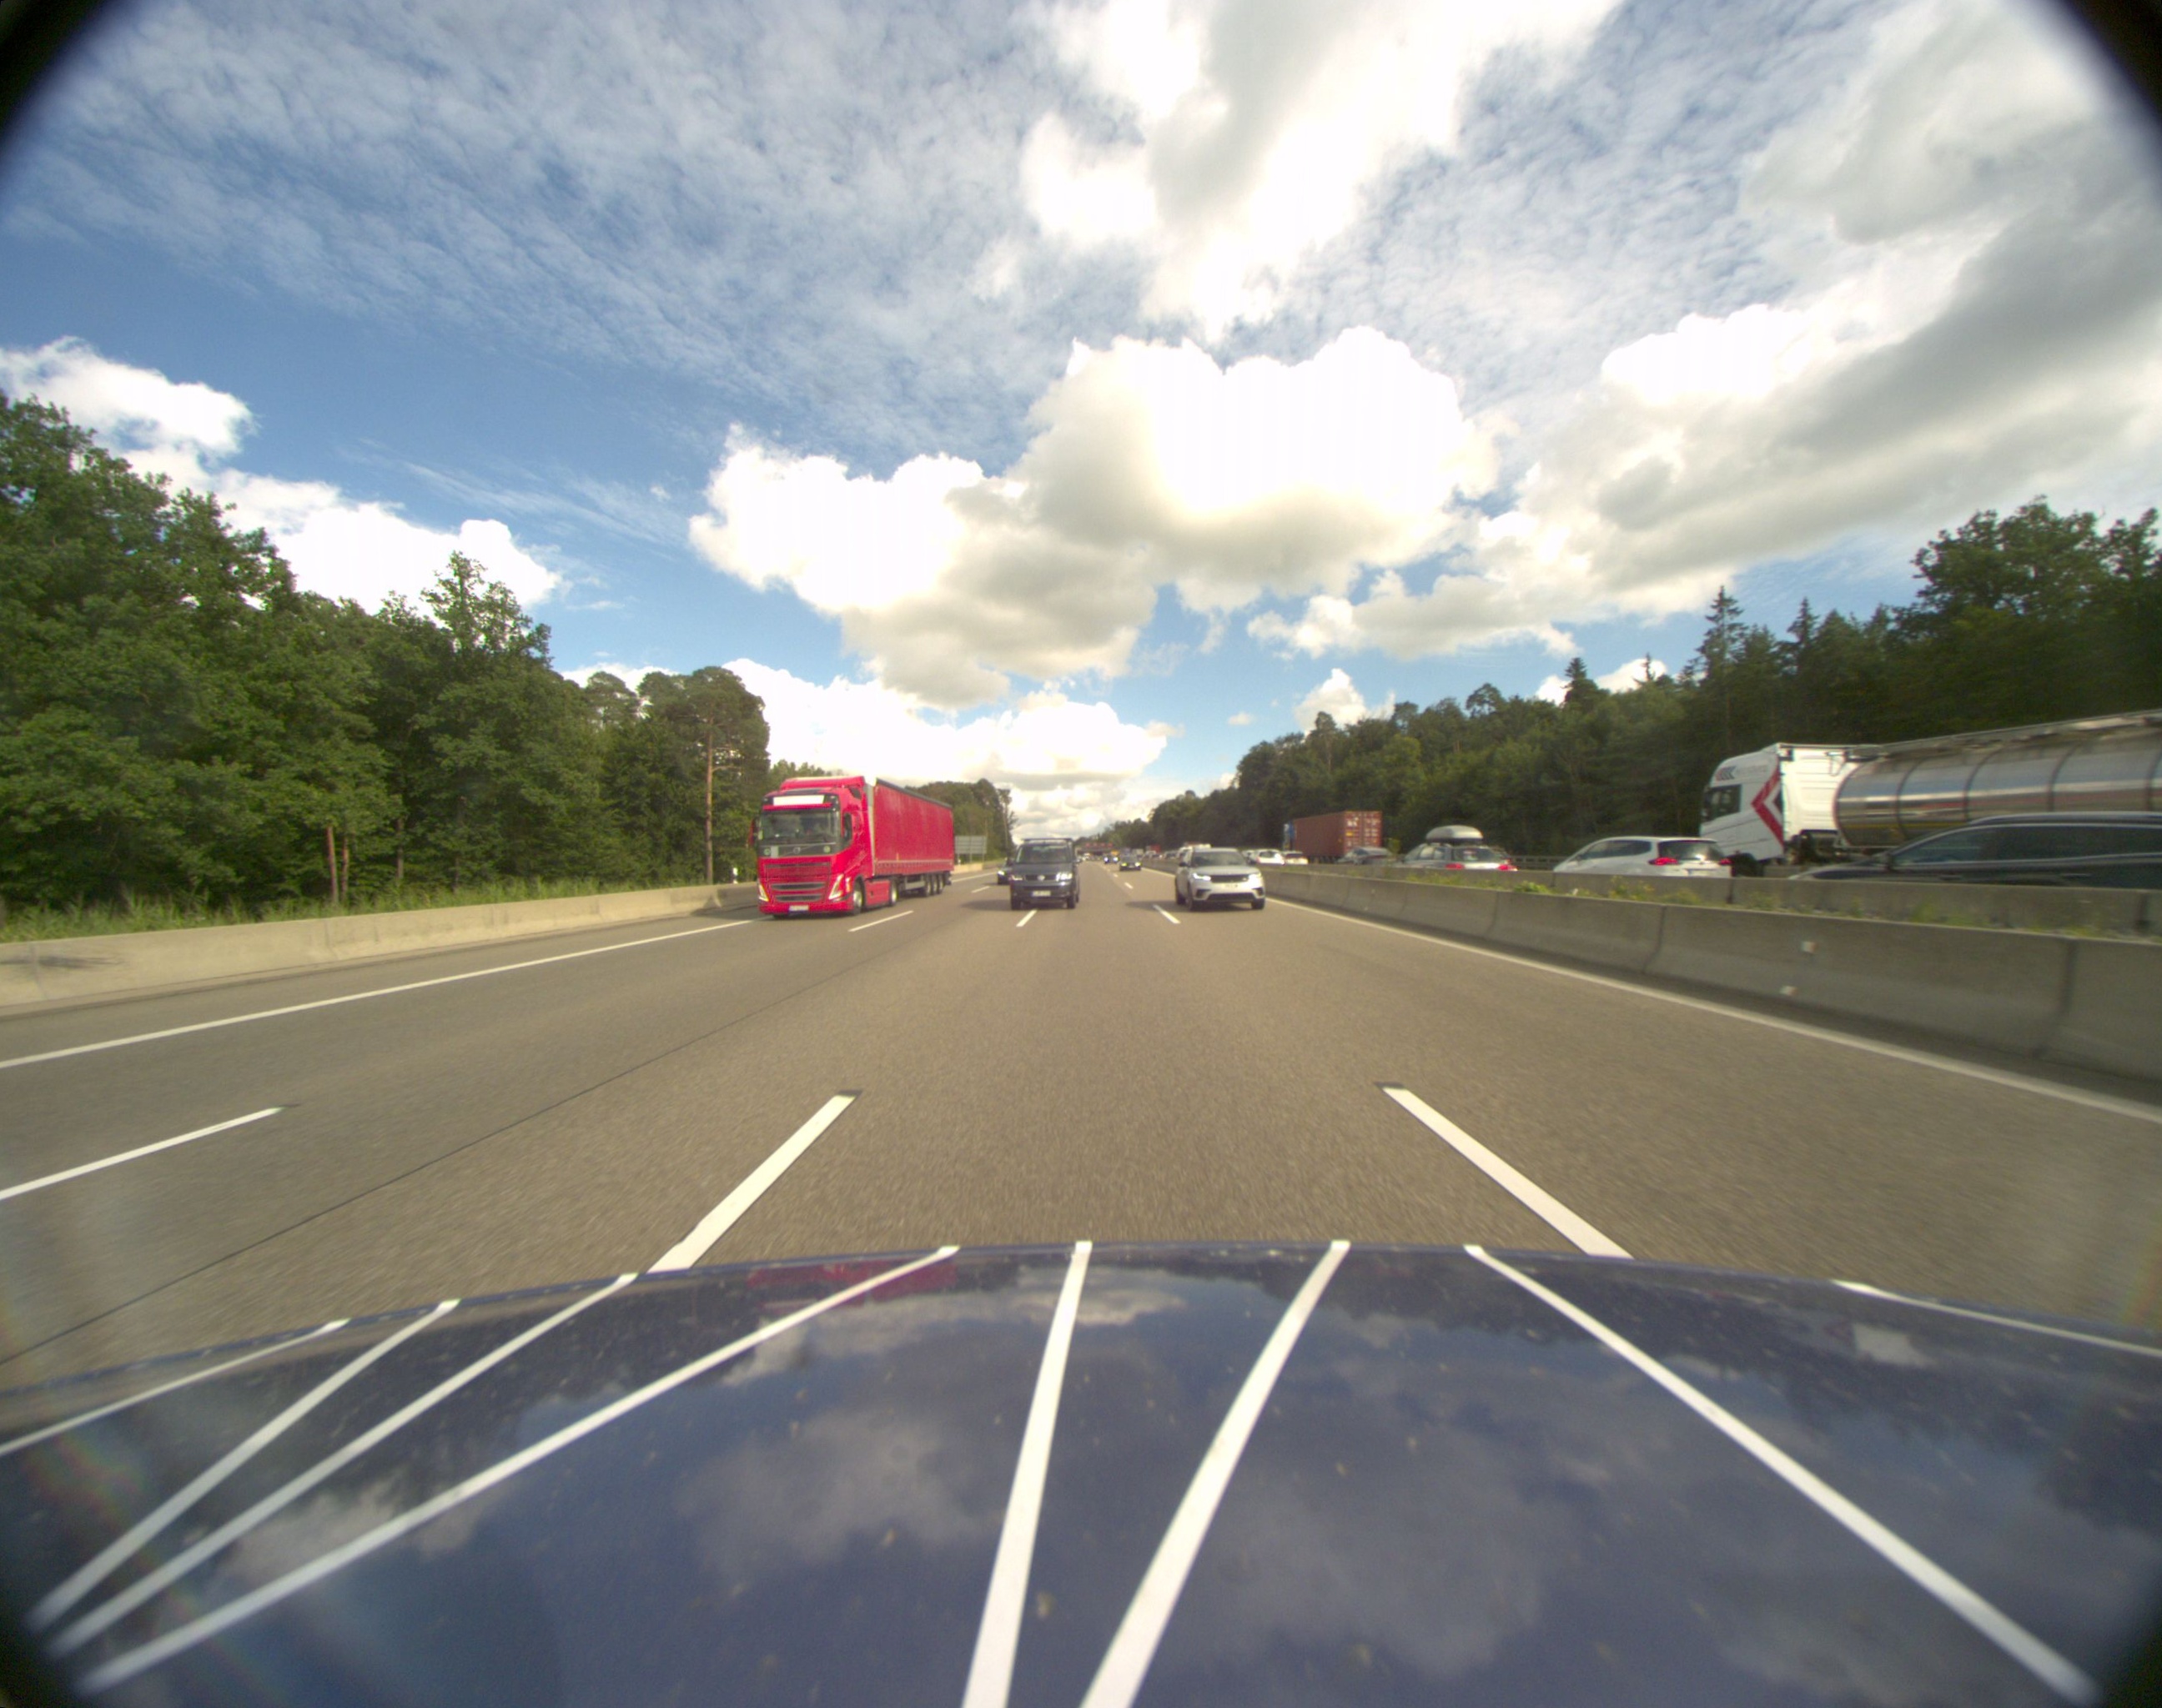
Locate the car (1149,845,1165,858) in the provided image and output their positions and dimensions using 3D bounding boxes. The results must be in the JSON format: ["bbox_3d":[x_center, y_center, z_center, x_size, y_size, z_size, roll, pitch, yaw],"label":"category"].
[{"bbox_3d":[11.471,-0.359,114.439,1.998,1.838,4.000,-2,0,1],"label":"car"}]

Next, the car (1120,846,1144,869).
[{"bbox_3d":[4.590,0.284,68.487,1.919,2.002,4.000,-1,0,1],"label":"car"}]

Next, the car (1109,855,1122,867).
[{"bbox_3d":[5.377,1.090,120.021,1.911,1.582,4.287,-2,1,1],"label":"car"}]

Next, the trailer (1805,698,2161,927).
[{"bbox_3d":[17.932,-0.676,11.208,2.957,3.478,12.230,-2,1,1],"label":"trailer"}]

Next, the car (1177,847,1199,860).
[{"bbox_3d":[11.197,-0.015,79.390,1.762,1.271,4.000,-2,0,1],"label":"car"}]

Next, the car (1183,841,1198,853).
[{"bbox_3d":[19.080,-1.171,132.778,1.998,2.002,4.000,-2,0,1],"label":"car"}]

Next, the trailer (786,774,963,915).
[{"bbox_3d":[-7.222,-0.315,29.664,2.531,4.095,14.377,-2,0,1],"label":"trailer"}]

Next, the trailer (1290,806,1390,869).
[{"bbox_3d":[18.519,-1.129,55.497,2.957,3.960,12.890,-2,1,1],"label":"trailer"}]

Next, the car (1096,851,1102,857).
[{"bbox_3d":[4.943,0.000,208.532,1.804,1.783,3.758,-1,0,1],"label":"car"}]

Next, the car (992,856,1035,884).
[{"bbox_3d":[-3.804,0.883,43.578,1.998,1.434,3.999,-2,1,1],"label":"car"}]

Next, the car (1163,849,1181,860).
[{"bbox_3d":[11.213,0.073,93.401,1.762,1.271,4.000,-2,0,1],"label":"car"}]

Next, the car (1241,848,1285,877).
[{"bbox_3d":[10.286,0.442,43.193,1.515,1.552,3.999,-2,0,-1],"label":"car"}]

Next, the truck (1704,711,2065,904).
[{"bbox_3d":[18.015,-0.926,17.602,2.964,3.725,5.109,-2,0,1],"label":"truck"}]

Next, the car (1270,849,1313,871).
[{"bbox_3d":[14.421,0.365,52.266,1.693,1.389,4.390,-2,0,0],"label":"car"}]

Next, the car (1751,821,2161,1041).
[{"bbox_3d":[10.172,0.627,8.109,1.821,1.871,4.903,-2,0,2],"label":"car"}]

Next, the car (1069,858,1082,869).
[{"bbox_3d":[-0.851,1.439,116.007,1.911,1.582,4.287,-2,1,-2],"label":"car"}]

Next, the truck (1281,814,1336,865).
[{"bbox_3d":[18.606,-1.178,62.447,2.963,3.963,5.152,-2,0,1],"label":"truck"}]

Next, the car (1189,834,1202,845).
[{"bbox_3d":[22.989,-2.925,152.681,1.998,2.002,4.000,-2,1,1],"label":"car"}]

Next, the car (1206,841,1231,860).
[{"bbox_3d":[15.142,-0.370,83.972,1.998,2.002,3.999,-2,1,1],"label":"car"}]

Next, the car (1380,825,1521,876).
[{"bbox_3d":[9.696,-0.087,20.353,1.599,1.167,4.356,-2,0,0],"label":"car"}]

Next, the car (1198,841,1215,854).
[{"bbox_3d":[19.601,-0.997,119.070,1.998,2.002,4.000,-2,0,1],"label":"car"}]

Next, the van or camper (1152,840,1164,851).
[{"bbox_3d":[23.091,-2.635,229.342,2.956,3.128,6.884,-2,0,1],"label":"van or camper"}]

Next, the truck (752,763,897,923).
[{"bbox_3d":[-7.357,-0.290,22.449,2.532,4.178,4.653,-2,0,1],"label":"truck"}]

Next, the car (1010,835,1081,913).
[{"bbox_3d":[-0.993,0.580,23.700,1.927,2.153,4.961,-1,0,0],"label":"car"}]

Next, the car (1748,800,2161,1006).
[{"bbox_3d":[10.092,0.382,8.067,1.821,1.735,4.903,-2,0,2],"label":"car"}]

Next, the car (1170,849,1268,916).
[{"bbox_3d":[3.736,0.721,21.467,1.904,1.597,5.106,-2,0,1],"label":"car"}]

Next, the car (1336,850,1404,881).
[{"bbox_3d":[14.296,0.539,37.833,1.693,1.389,4.390,-2,0,0],"label":"car"}]

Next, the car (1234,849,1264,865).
[{"bbox_3d":[14.863,0.253,67.416,1.877,1.271,4.000,-2,0,1],"label":"car"}]

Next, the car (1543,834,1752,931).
[{"bbox_3d":[13.873,0.626,19.013,1.821,2.094,4.479,-2,0,0],"label":"car"}]

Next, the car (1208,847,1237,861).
[{"bbox_3d":[11.019,-0.002,59.442,1.575,0.992,4.000,-2,0,1],"label":"car"}]

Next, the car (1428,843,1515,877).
[{"bbox_3d":[17.923,0.252,35.108,1.693,1.428,4.390,-2,0,-1],"label":"car"}]
